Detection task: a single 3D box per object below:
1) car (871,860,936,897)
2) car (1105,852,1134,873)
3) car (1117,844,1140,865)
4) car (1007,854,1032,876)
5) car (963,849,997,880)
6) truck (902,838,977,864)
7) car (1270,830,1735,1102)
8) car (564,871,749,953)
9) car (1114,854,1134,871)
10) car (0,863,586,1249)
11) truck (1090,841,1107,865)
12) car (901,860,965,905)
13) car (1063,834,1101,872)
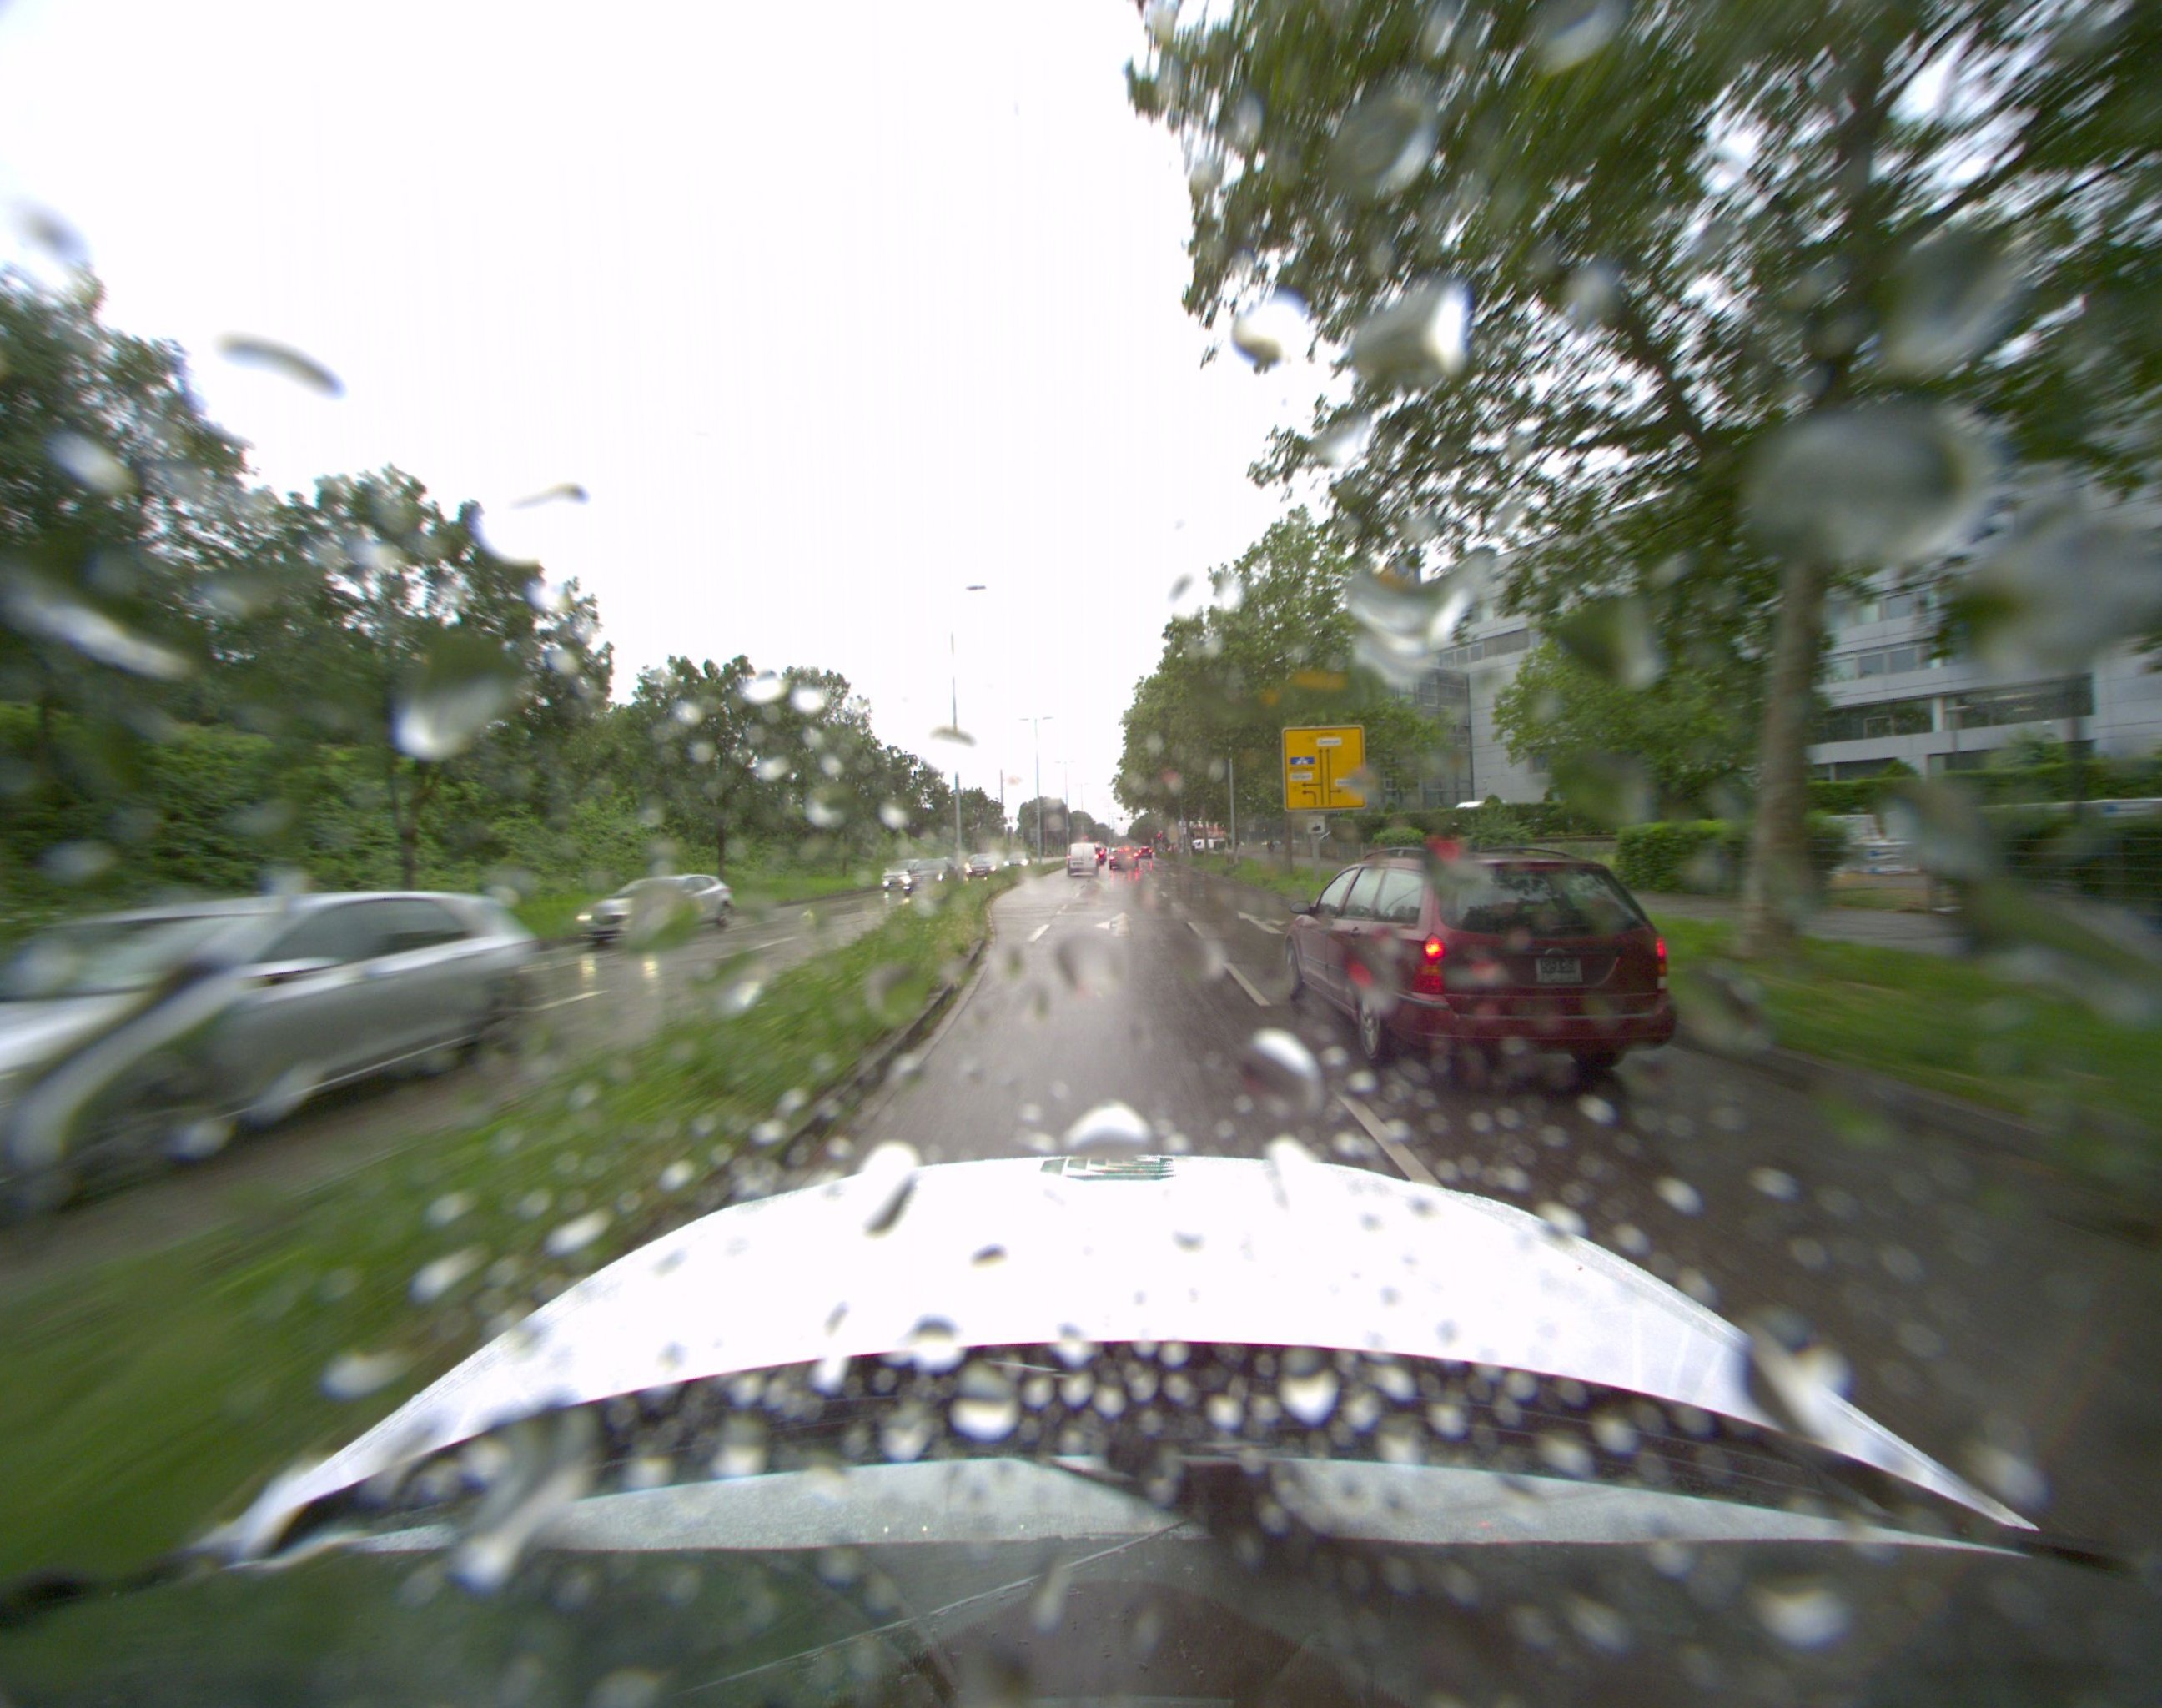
[{"bbox_3d":[-8.940,1.192,41.478,1.901,1.574,4.713,-5,0,3],"label":"car"},{"bbox_3d":[2.739,0.607,59.275,1.986,1.452,4.001,-1,0,1],"label":"car"},{"bbox_3d":[3.814,0.015,65.620,1.702,1.549,4.002,-2,1,1],"label":"car"},{"bbox_3d":[-4.785,0.825,63.664,1.716,1.618,4.343,-2,0,-2],"label":"car"},{"bbox_3d":[-5.829,0.553,47.227,1.822,1.574,4.349,-3,1,-7],"label":"car"},{"bbox_3d":[-19.653,-0.386,113.612,10.182,3.452,2.630,-1,-2,-34],"label":"truck"},{"bbox_3d":[2.898,0.647,6.751,1.832,1.536,4.113,-1,0,2],"label":"car"},{"bbox_3d":[-9.904,1.280,19.484,1.828,1.502,4.443,-4,0,3],"label":"car"},{"bbox_3d":[3.912,0.736,73.674,1.704,1.445,4.003,-2,1,3],"label":"car"},{"bbox_3d":[-5.580,0.939,5.237,1.904,1.574,4.705,-4,0,-2],"label":"car"},{"bbox_3d":[1.869,-0.147,86.545,1.750,2.466,4.001,-1,0,1],"label":"truck"},{"bbox_3d":[-6.047,1.132,33.766,1.904,1.574,4.703,-4,0,-3],"label":"car"},{"bbox_3d":[0.103,-0.025,45.848,1.986,2.014,4.001,-1,-1,1],"label":"car"}]
